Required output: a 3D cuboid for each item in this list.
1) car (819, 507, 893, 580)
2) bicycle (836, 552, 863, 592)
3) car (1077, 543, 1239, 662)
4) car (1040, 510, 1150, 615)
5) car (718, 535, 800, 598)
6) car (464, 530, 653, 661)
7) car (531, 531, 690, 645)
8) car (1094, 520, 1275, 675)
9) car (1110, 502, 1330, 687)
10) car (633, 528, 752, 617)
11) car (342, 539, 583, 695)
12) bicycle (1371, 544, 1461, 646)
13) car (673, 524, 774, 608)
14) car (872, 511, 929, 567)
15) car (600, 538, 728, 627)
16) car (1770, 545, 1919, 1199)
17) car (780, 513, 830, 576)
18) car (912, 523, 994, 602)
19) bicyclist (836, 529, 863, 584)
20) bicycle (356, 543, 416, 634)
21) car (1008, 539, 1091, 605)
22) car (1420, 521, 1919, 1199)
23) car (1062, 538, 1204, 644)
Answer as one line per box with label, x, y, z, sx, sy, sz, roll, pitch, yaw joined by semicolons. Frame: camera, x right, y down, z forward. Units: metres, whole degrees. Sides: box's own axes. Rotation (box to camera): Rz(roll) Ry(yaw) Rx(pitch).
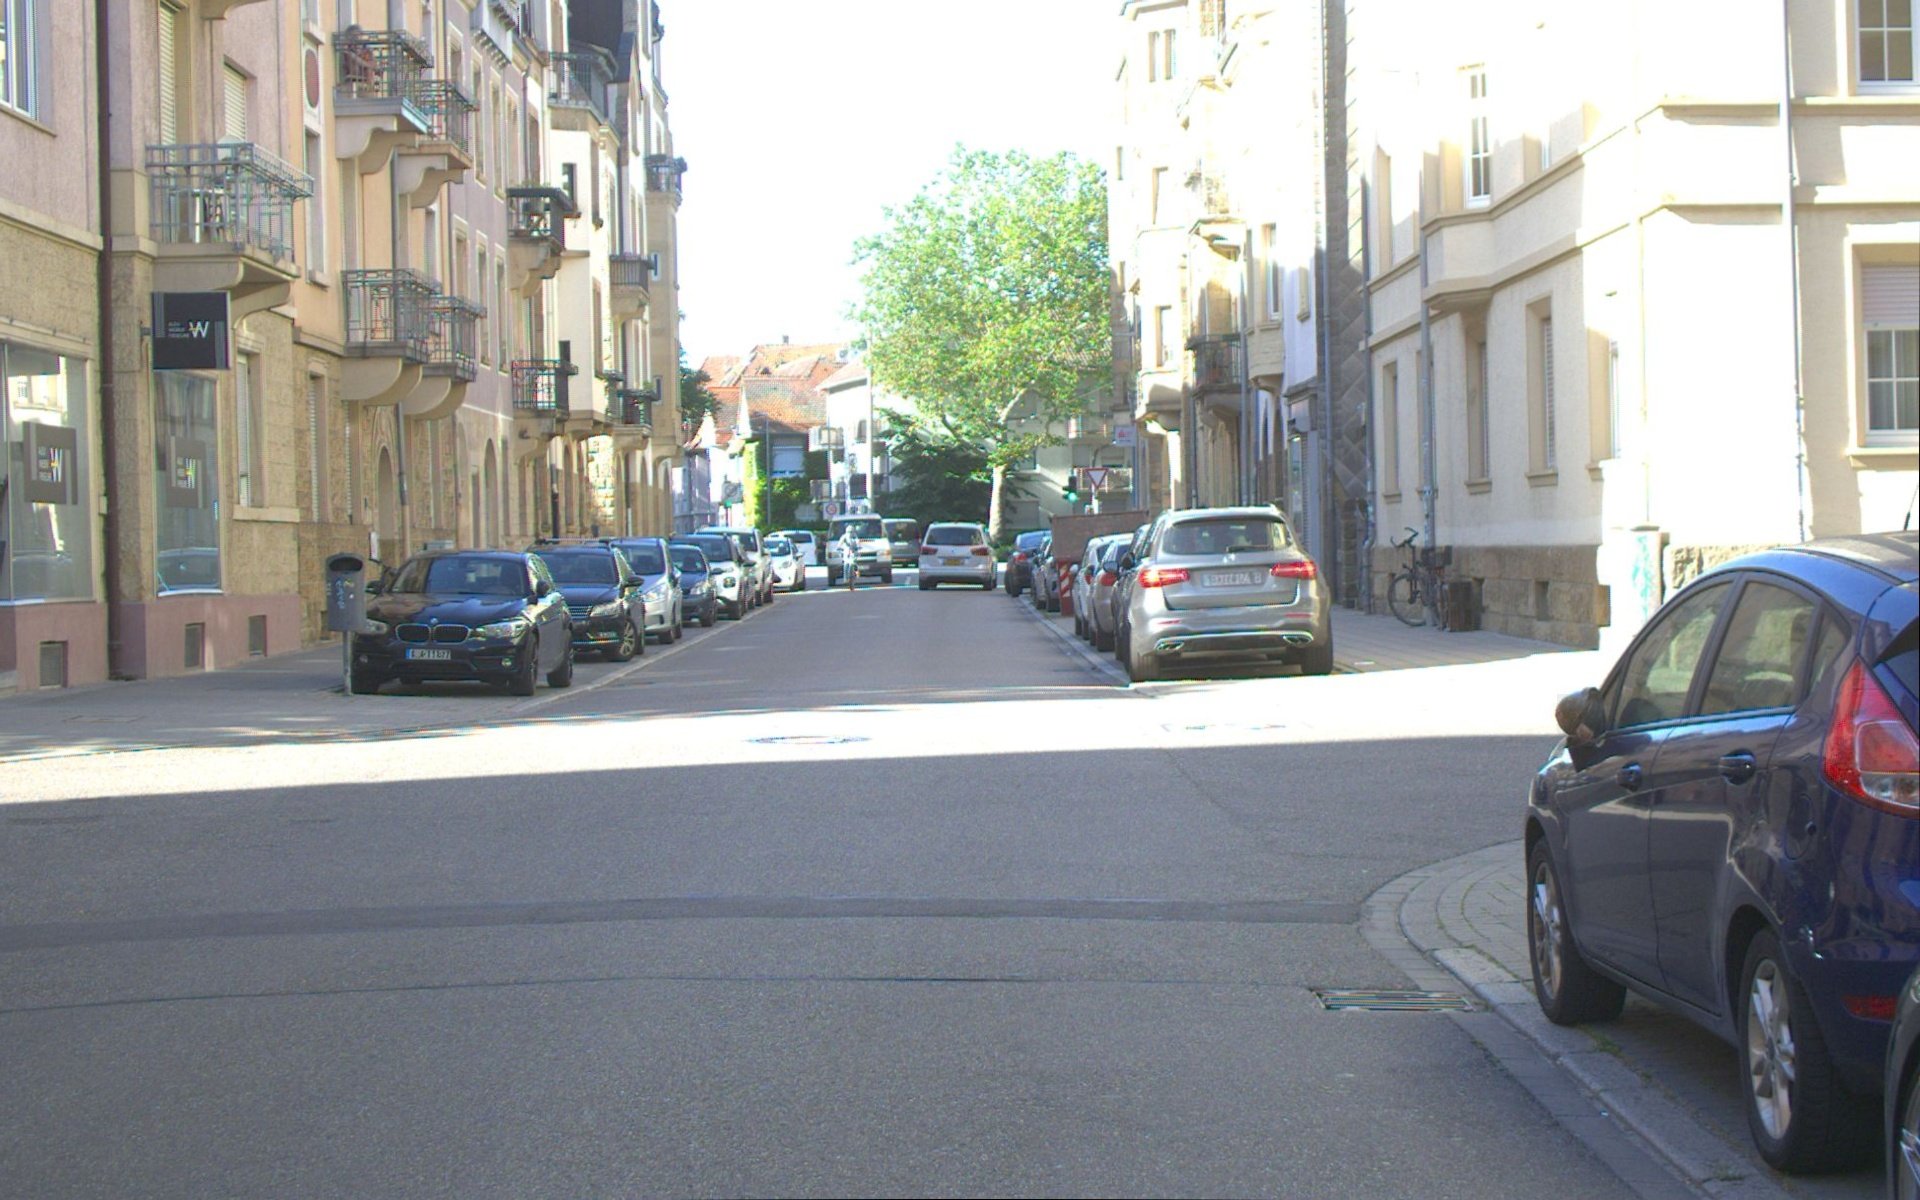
car;-2.947;-1.586;97.896;2.003;1.993;4.487;2;0;-1
bicycle;-2.869;-0.720;89.397;0.662;1.015;2.066;-2;0;-1
car;2.533;0.044;44.815;1.838;1.426;4.029;-2;-1;0
car;2.442;-0.655;63.004;1.838;1.781;4.028;-1;-1;0
car;-5.347;-0.876;91.922;2.003;1.600;4.487;2;0;-1
car;-5.182;-0.063;44.901;2.003;1.577;4.487;2;0;-1
car;-5.255;-0.182;52.184;2.003;1.613;4.487;2;0;-1
car;2.478;-0.037;38.750;1.745;1.602;4.029;-2;0;0
car;2.501;-0.032;34.128;1.913;1.639;4.773;-2;-1;2
car;-5.114;-0.520;66.140;2.003;1.613;4.487;2;0;-1
car;-4.919;0.156;34.519;1.679;1.421;4.274;2;0;1
bicycle;5.759;-0.079;43.504;0.761;1.242;2.592;0;1;-1
car;-5.271;-0.756;77.133;2.003;1.782;4.487;2;0;-1
car;-2.215;-2.245;127.505;2.003;1.993;4.487;2;0;-1
car;-5.255;-0.313;61.485;1.978;1.477;4.328;2;0;-1
car;2.442;0.651;3.815;1.801;1.466;5.112;-3;1;0
car;-6.624;-2.355;147.324;1.838;2.525;4.175;-2;-1;0
car;-0.195;-0.936;87.620;2.003;1.907;4.487;2;0;-1
bicyclist;-2.872;-1.128;89.412;0.662;1.381;0.754;-2;0;-1
bicycle;-8.375;-0.179;50.211;0.541;1.297;1.866;0;1;1
car;2.101;-0.650;81.830;1.838;1.427;4.028;-2;-1;0
car;2.552;0.549;9.276;1.762;1.466;4.085;-3;1;-4
car;2.479;-0.113;50.208;1.838;1.426;4.029;-2;-1;0
